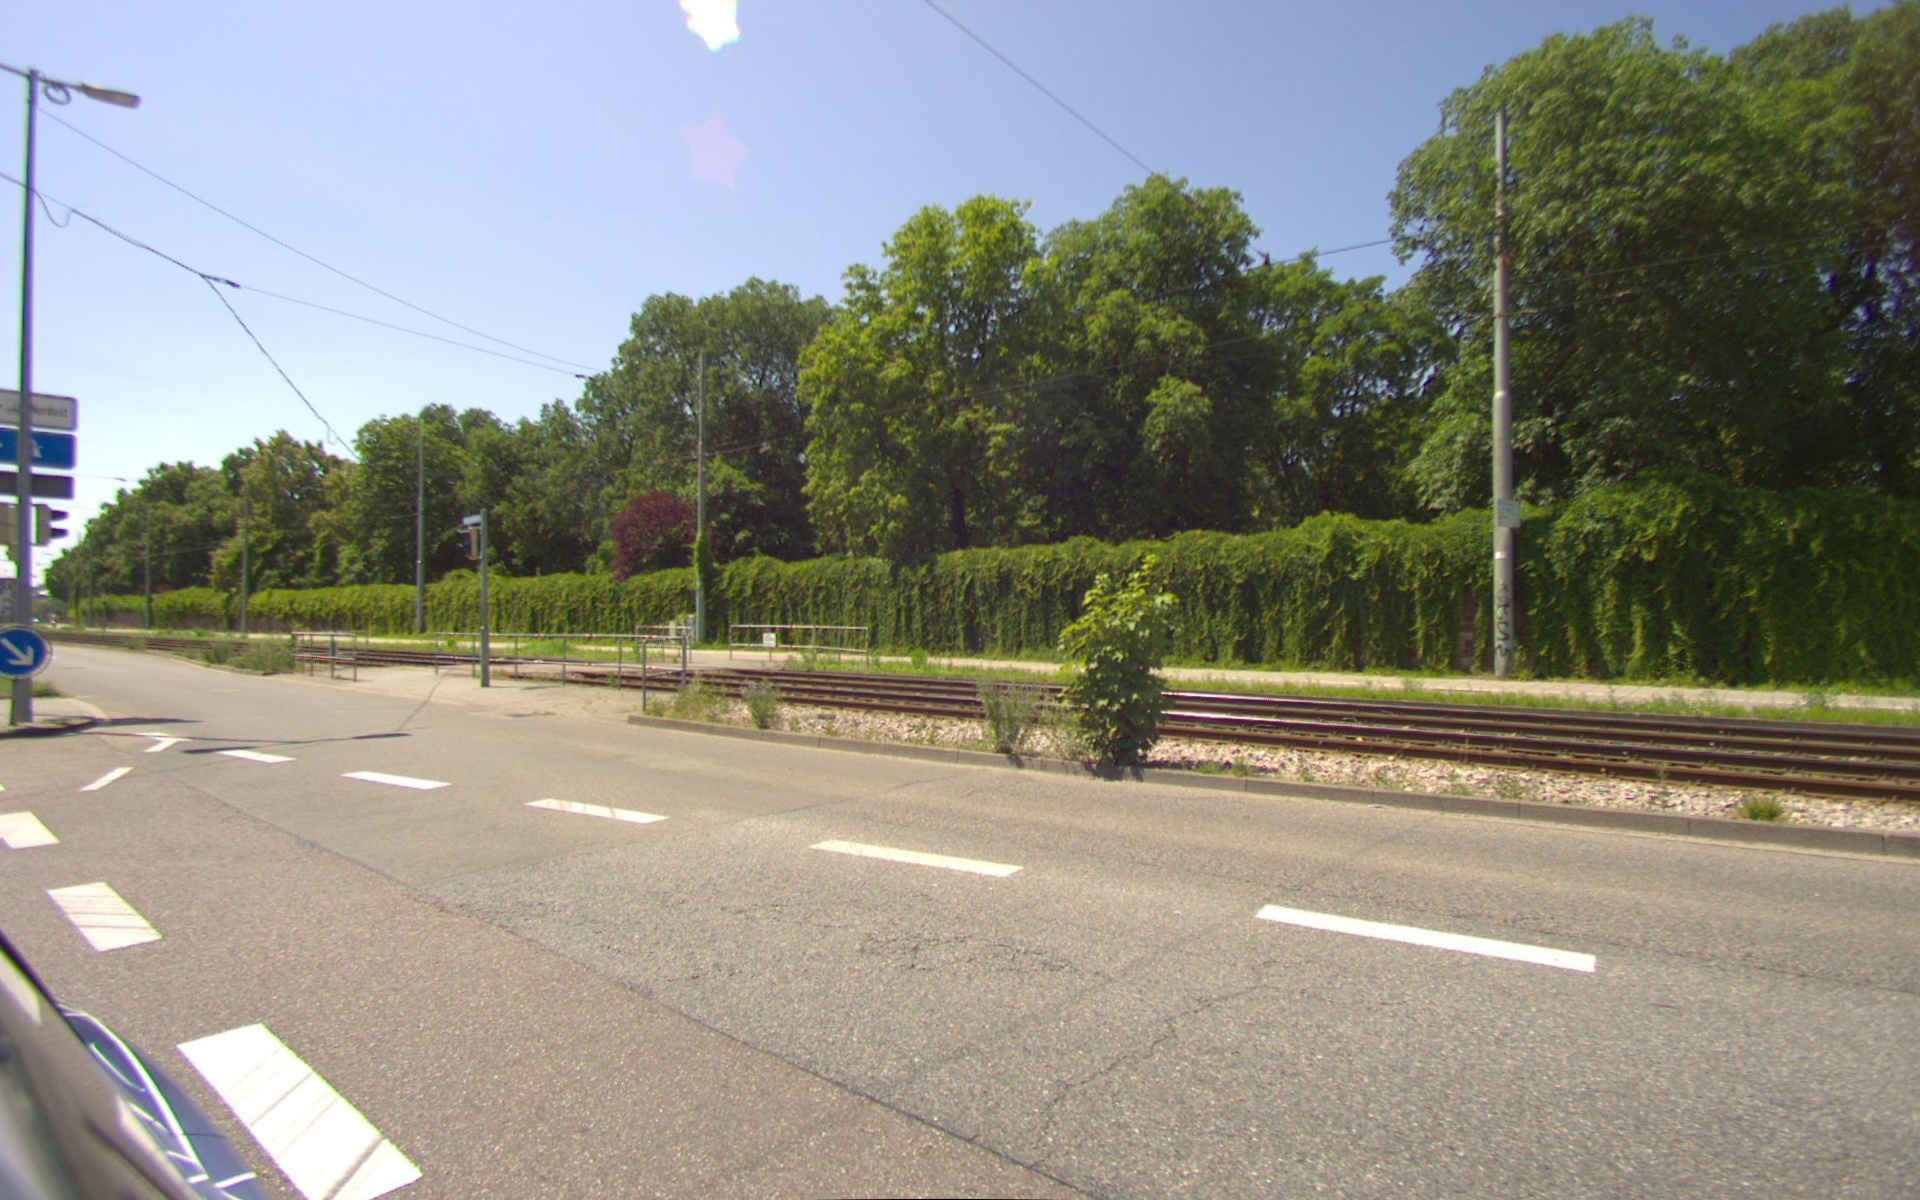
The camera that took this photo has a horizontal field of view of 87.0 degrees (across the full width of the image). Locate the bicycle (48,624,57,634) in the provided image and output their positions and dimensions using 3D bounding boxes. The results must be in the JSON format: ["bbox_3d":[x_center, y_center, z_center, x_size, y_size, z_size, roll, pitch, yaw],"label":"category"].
[{"bbox_3d":[-103.921,3.297,115.930,1.978,1.063,0.609,-1,1,43],"label":"bicycle"}]
